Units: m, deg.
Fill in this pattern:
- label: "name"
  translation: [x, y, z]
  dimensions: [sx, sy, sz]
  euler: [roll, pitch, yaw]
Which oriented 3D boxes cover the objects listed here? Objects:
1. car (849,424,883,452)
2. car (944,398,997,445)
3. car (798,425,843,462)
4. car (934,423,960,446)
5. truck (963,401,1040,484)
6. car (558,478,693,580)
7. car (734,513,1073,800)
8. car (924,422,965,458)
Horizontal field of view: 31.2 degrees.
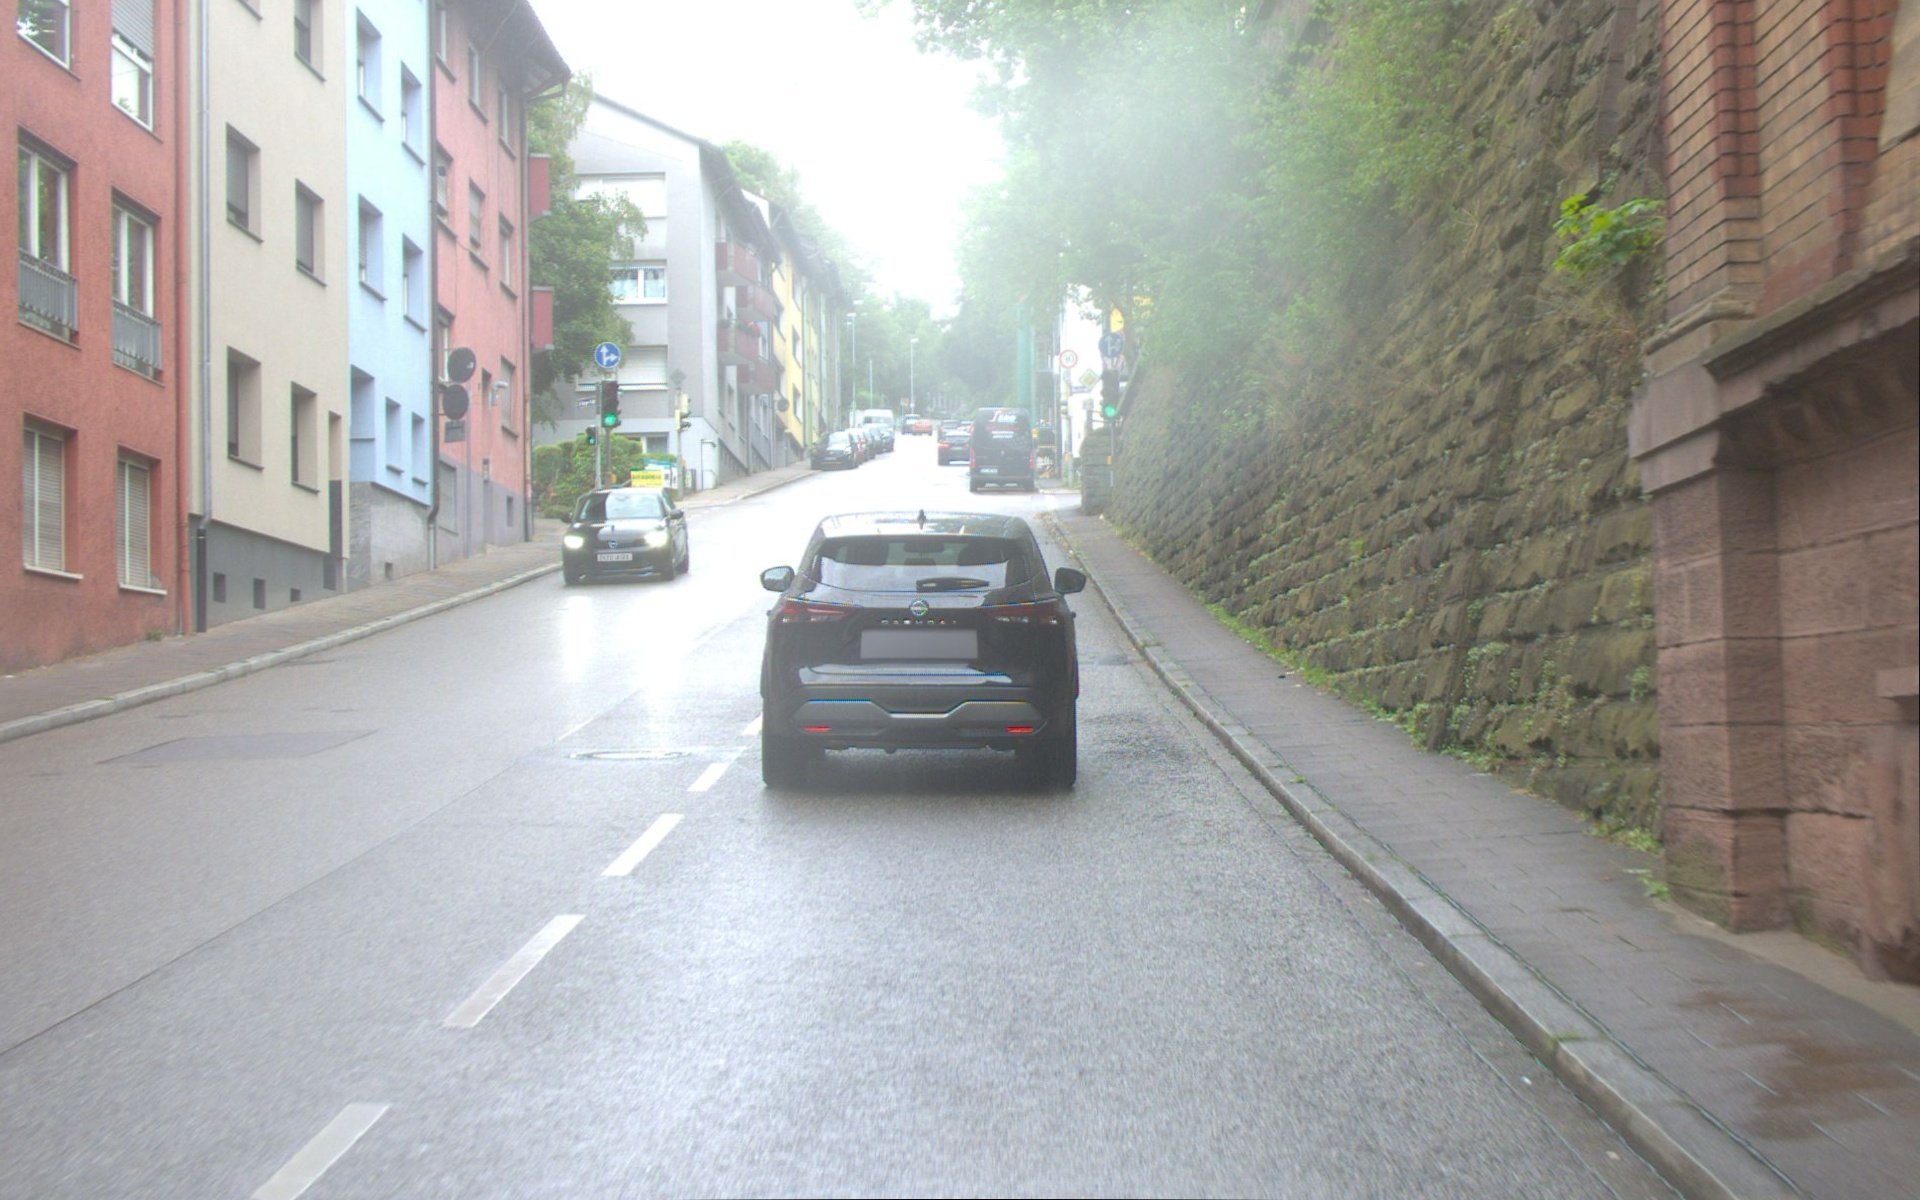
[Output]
- label: "car"
  translation: [-5.345, -9.212, 195.763]
  dimensions: [1.794, 1.505, 4.000]
  euler: [-1, 2, 0]
- label: "car"
  translation: [0.378, -6.286, 121.221]
  dimensions: [1.794, 1.505, 4.500]
  euler: [-1, 2, 0]
- label: "car"
  translation: [-6.160, -6.905, 151.989]
  dimensions: [1.794, 1.505, 4.000]
  euler: [-1, 2, 0]
- label: "car"
  translation: [-0.913, -11.793, 245.382]
  dimensions: [1.794, 1.505, 4.000]
  euler: [-1, 2, 0]
- label: "truck"
  translation: [1.280, -4.853, 106.324]
  dimensions: [2.289, 2.431, 4.453]
  euler: [-1, 2, 0]
- label: "car"
  translation: [-5.220, -1.143, 54.031]
  dimensions: [1.714, 1.443, 3.922]
  euler: [-2, 3, 0]
- label: "car"
  translation: [-0.369, 0.271, 21.053]
  dimensions: [1.881, 1.588, 3.922]
  euler: [0, 1, -2]
- label: "car"
  translation: [-0.703, -7.252, 156.056]
  dimensions: [1.794, 1.505, 4.000]
  euler: [-1, 2, 0]
